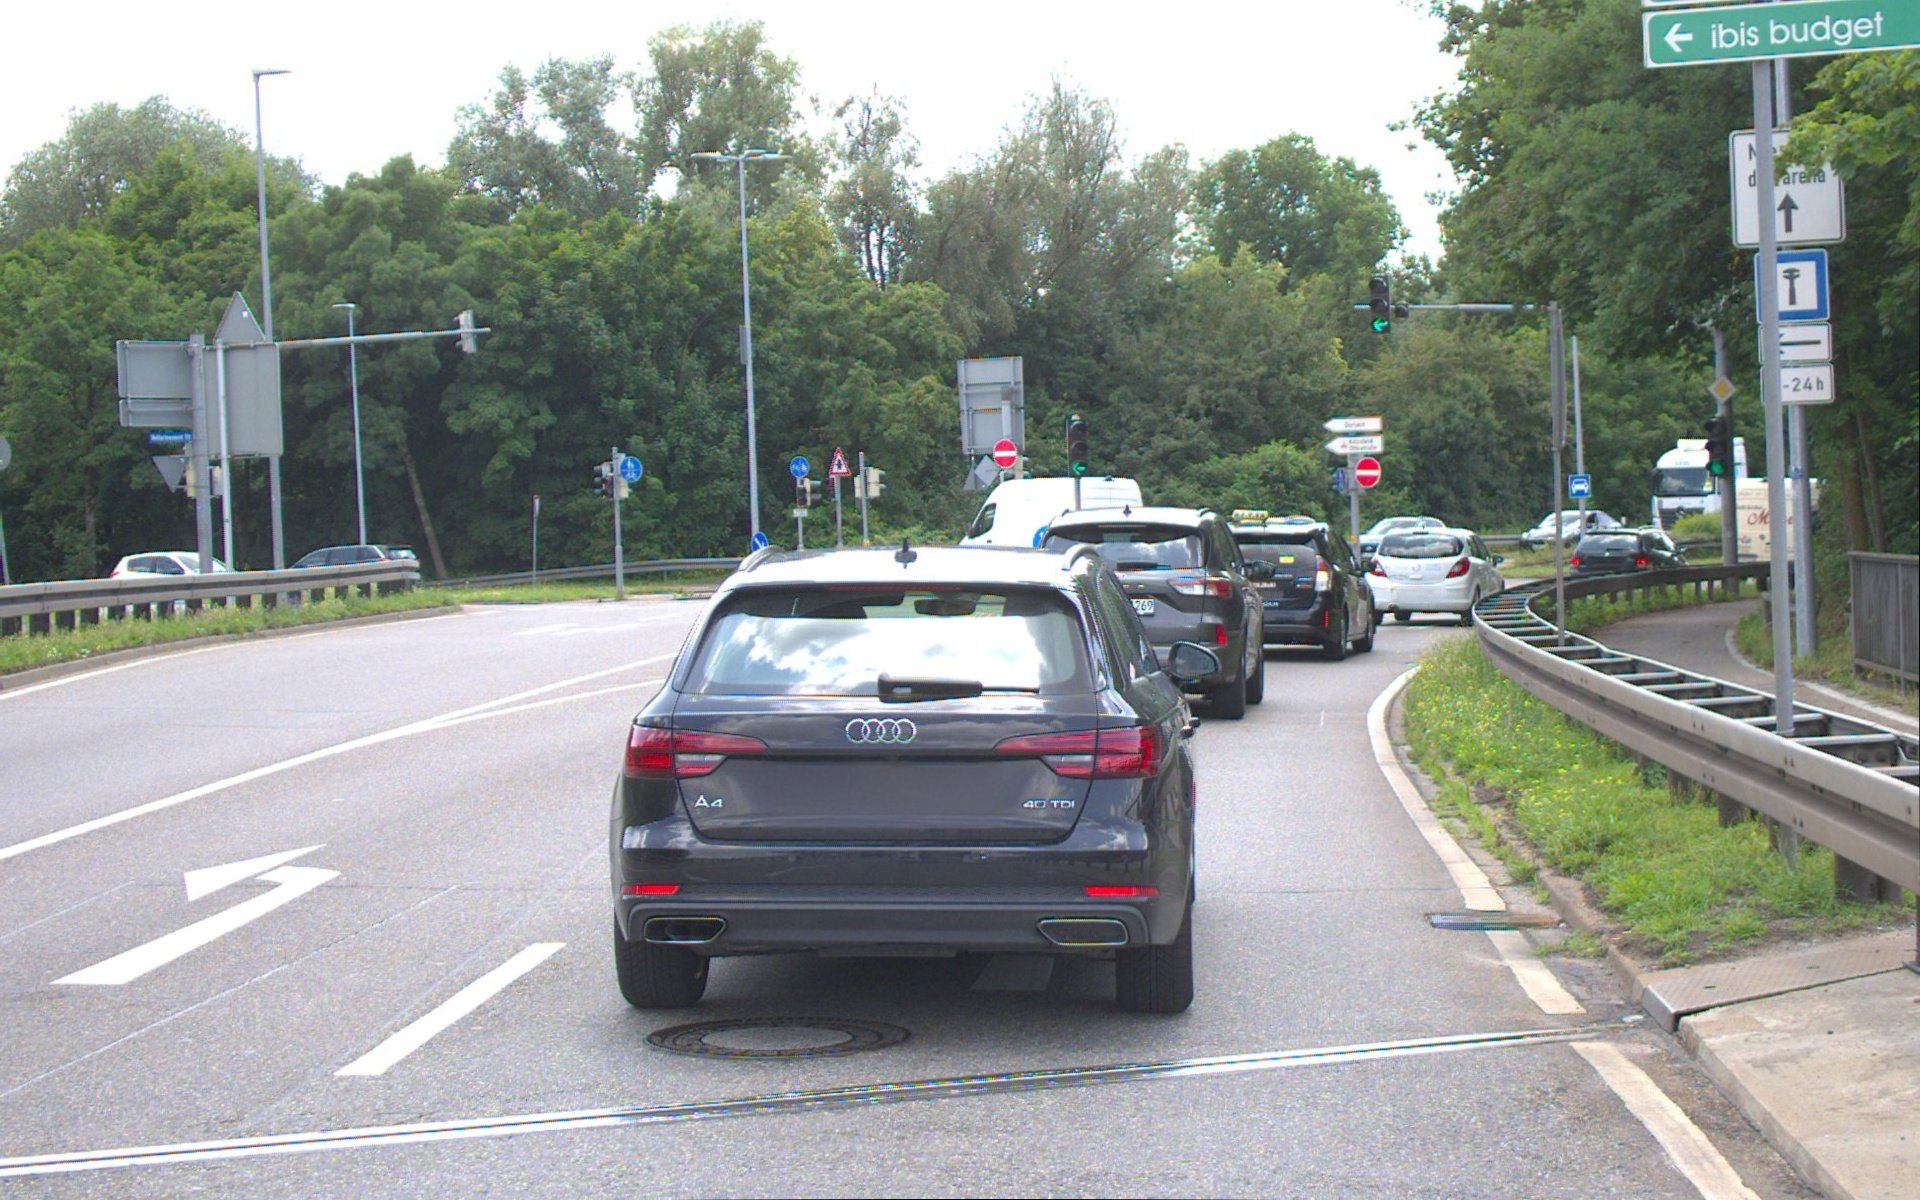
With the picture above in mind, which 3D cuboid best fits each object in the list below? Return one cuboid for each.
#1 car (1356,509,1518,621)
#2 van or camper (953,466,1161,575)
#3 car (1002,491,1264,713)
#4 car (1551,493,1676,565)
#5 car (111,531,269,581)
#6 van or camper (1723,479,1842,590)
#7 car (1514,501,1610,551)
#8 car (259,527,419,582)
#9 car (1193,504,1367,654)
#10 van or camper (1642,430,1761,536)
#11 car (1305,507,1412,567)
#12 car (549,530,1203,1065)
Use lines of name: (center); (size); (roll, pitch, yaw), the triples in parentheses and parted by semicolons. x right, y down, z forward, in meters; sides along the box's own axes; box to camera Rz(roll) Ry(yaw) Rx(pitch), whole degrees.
car: (7.362, -0.572, 52.797); (1.735, 1.646, 3.852); (0, 1, 20)
van or camper: (2.106, -1.795, 76.423); (2.272, 2.332, 5.241); (0, 2, -29)
car: (1.460, -0.034, 27.615); (1.822, 1.646, 3.855); (1, 1, 7)
car: (12.982, -1.404, 68.158); (1.685, 1.393, 3.674); (0, 1, 23)
car: (-17.711, -1.022, 79.079); (3.586, 1.113, 1.591); (1, 1, 37)
van or camper: (19.761, -1.610, 82.513); (1.996, 2.581, 4.085); (1, 2, 25)
car: (19.481, -2.401, 111.172); (1.524, 1.495, 3.303); (4, 5, 42)
car: (-16.408, -1.214, 90.869); (3.802, 1.367, 1.671); (1, 3, 19)
car: (3.757, -0.282, 39.870); (1.734, 1.646, 3.854); (0, 1, 9)
van or camper: (26.305, -4.157, 121.643); (2.907, 3.602, 8.123); (2, 3, 20)
car: (11.720, -1.845, 100.942); (1.778, 1.711, 3.994); (-1, 1, 28)
car: (-0.182, 0.511, 11.729); (1.828, 1.486, 4.207); (0, 1, 2)
